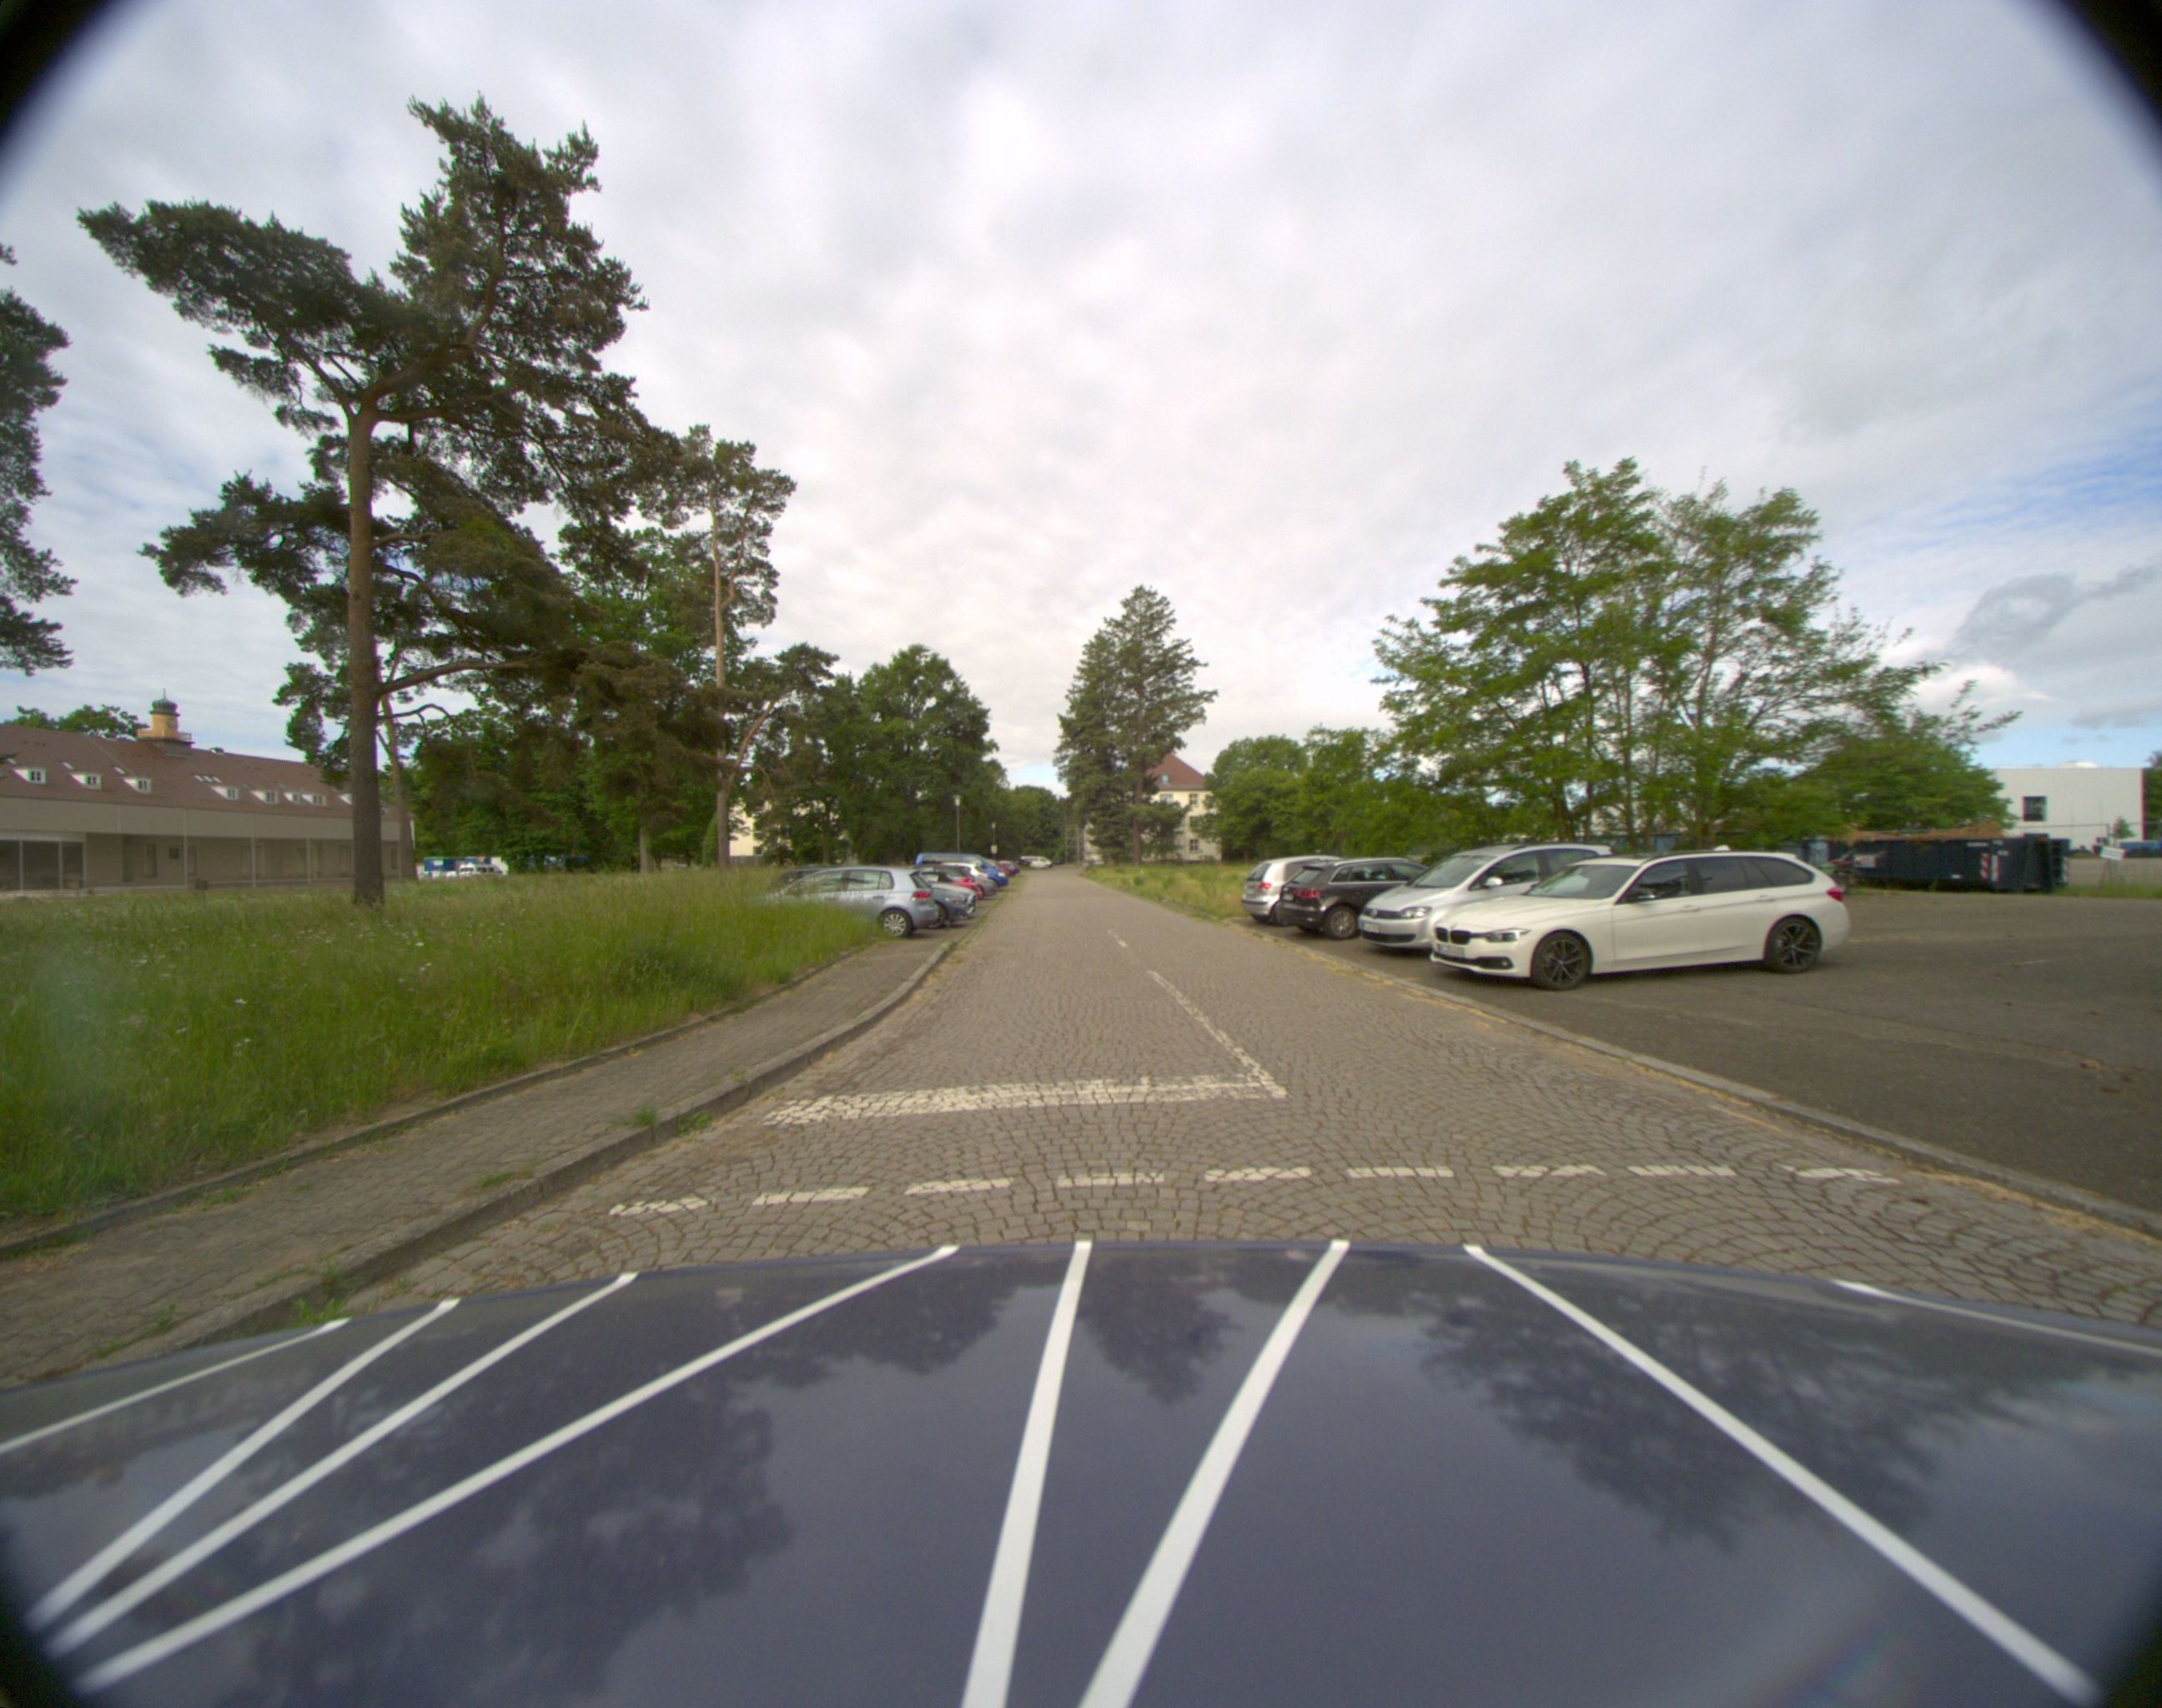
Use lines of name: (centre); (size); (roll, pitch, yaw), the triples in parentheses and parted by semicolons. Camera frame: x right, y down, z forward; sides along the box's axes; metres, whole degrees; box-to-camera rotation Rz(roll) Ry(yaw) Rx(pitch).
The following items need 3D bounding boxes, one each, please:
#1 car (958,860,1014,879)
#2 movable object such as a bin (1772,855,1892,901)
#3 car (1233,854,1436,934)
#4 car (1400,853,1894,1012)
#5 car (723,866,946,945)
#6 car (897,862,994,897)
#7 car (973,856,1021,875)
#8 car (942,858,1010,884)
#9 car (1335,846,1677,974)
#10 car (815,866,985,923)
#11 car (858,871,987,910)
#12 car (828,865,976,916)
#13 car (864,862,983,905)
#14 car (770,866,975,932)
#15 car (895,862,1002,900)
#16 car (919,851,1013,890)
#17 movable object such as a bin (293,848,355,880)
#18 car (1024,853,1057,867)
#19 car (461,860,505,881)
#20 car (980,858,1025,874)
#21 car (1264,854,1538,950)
car: (-7.306, 1.151, 58.563); (4.084, 1.436, 1.726); (0, 0, -1)
movable object such as a bin: (18.774, 0.588, 19.019); (2.268, 1.119, 0.858); (0, 1, -5)
car: (5.624, 0.850, 17.085); (3.961, 1.462, 1.584); (-3, 1, -6)
car: (6.672, 0.852, 9.263); (4.753, 1.479, 1.866); (-3, 0, -5)
car: (-4.893, 1.013, 15.556); (4.012, 1.420, 1.697); (2, 0, -4)
car: (-5.989, 1.103, 33.972); (4.051, 1.507, 1.600); (0, 0, 0)
car: (-7.579, 1.052, 68.908); (4.082, 1.685, 1.727); (0, 0, 4)
car: (-6.614, 1.082, 48.271); (4.084, 1.584, 1.654); (0, 0, 0)
car: (6.473, 0.778, 11.807); (4.377, 1.588, 1.871); (-3, 1, -9)
car: (-4.889, 1.080, 20.936); (4.248, 1.465, 1.717); (0, 0, -1)
car: (-5.263, 1.201, 25.586); (4.051, 1.233, 1.549); (0, 0, -2)
car: (-5.417, 1.104, 23.388); (4.184, 1.473, 1.717); (0, 0, -2)
car: (-5.791, 1.069, 28.228); (4.051, 1.507, 1.600); (0, 0, 0)
car: (-4.856, 1.052, 18.189); (4.441, 1.375, 1.663); (2, 0, -4)
car: (-5.359, 1.079, 31.079); (4.098, 1.507, 1.700); (0, 0, 0)
car: (-5.904, 0.827, 39.395); (4.603, 1.994, 1.911); (0, 1, -1)
movable object such as a bin: (-93.025, 1.255, 93.441); (5.459, 3.748, 2.052); (-2, 1, 1)
car: (-6.554, 0.956, 122.380); (5.151, 2.136, 1.774); (0, 0, -6)
car: (-72.632, 1.944, 92.318); (1.862, 2.351, 4.446); (-2, 1, -3)
car: (-7.613, 1.186, 73.602); (4.092, 1.524, 1.727); (0, 0, 4)
car: (5.954, 0.847, 14.425); (4.447, 1.416, 1.721); (-3, 1, -5)
